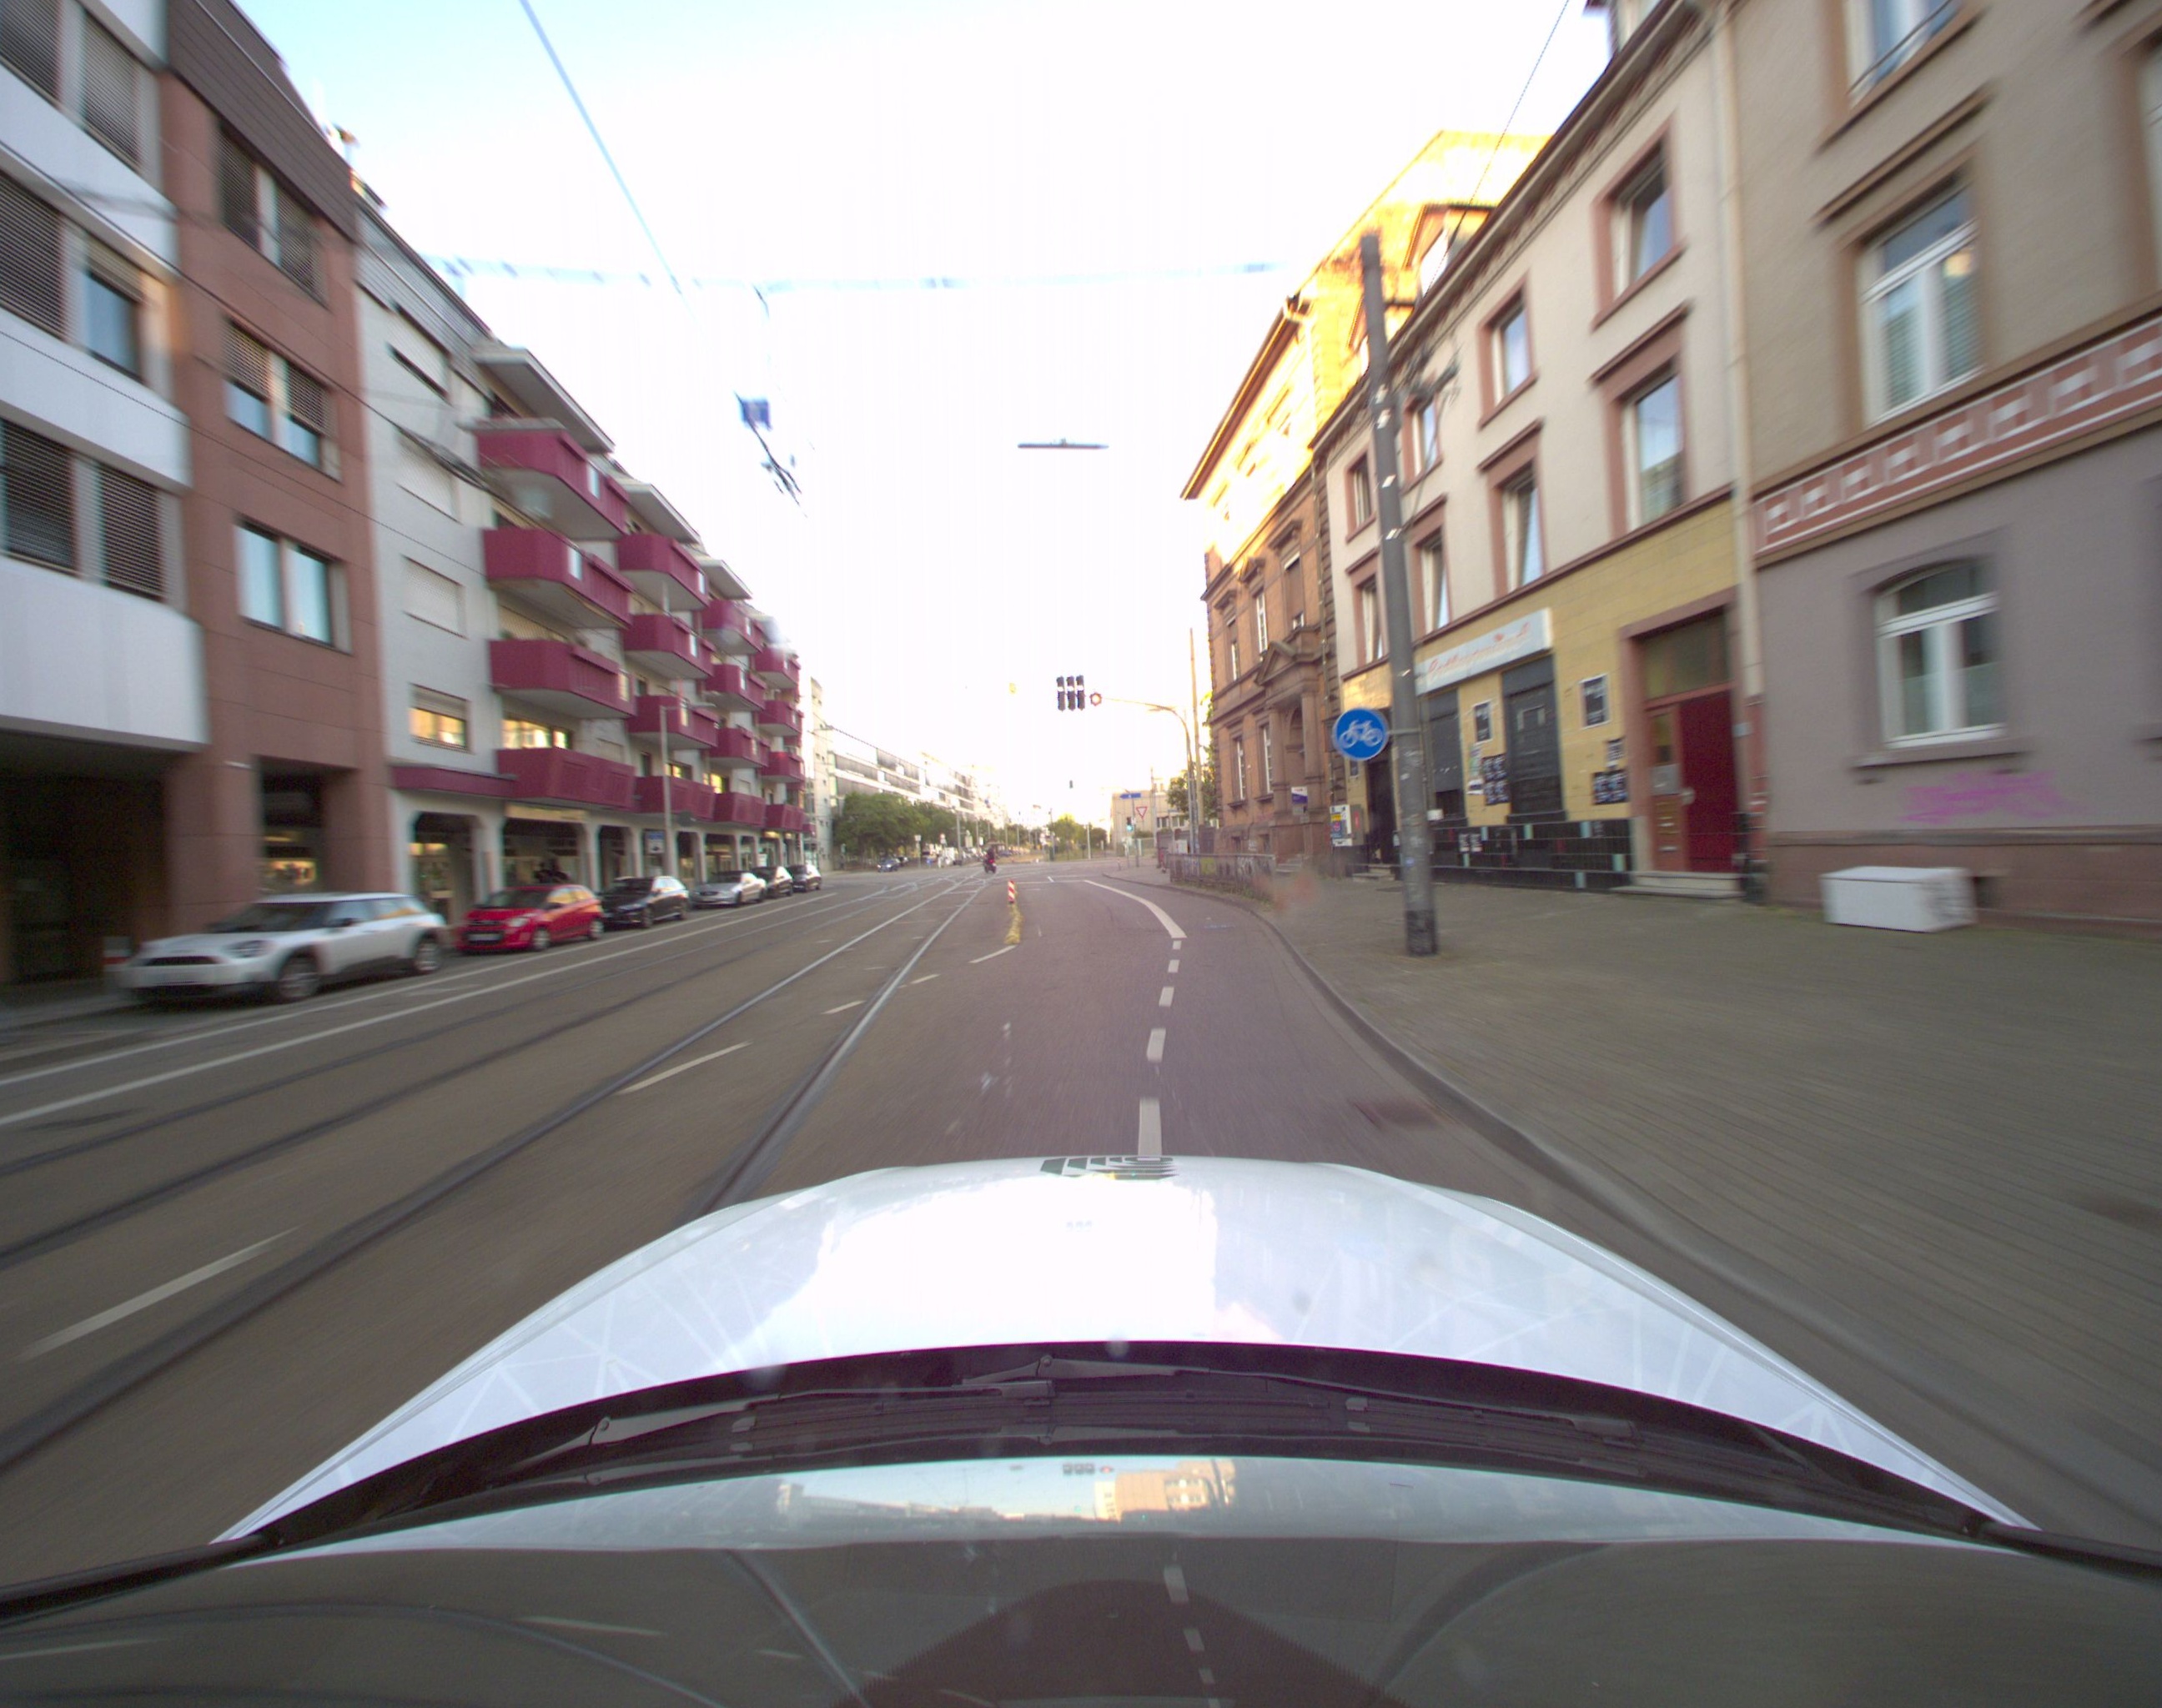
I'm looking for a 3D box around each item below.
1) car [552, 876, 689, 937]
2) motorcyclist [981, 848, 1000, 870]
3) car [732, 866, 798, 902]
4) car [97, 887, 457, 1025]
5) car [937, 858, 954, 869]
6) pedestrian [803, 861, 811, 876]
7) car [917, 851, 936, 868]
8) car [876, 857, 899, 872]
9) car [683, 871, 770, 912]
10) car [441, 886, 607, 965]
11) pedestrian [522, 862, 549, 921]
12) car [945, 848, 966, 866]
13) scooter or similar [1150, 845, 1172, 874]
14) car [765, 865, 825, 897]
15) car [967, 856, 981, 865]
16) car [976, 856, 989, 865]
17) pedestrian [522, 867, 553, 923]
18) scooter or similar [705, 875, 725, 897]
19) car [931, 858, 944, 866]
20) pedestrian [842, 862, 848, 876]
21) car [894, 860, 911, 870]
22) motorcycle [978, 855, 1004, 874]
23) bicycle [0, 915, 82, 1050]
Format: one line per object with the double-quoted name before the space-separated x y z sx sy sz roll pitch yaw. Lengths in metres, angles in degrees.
"car" -13.323 1.448 23.918 1.993 1.479 4.468 -1 0 -9
"motorcyclist" -6.262 0.334 56.591 0.833 1.473 1.195 -3 0 -29
"car" -14.873 1.372 38.531 1.786 1.508 4.191 -2 0 -6
"car" -12.122 1.413 12.767 1.715 1.555 4.195 -2 0 -6
"car" -19.121 1.297 115.101 1.677 1.438 4.126 -3 0 1
"pedestrian" -31.398 1.644 93.242 0.543 1.711 0.662 -3 0 10
"car" -29.521 1.052 155.799 2.193 3.151 6.145 -3 0 1
"car" -24.821 1.339 104.383 1.676 1.699 4.242 -3 0 2
"car" -14.105 1.438 32.661 1.688 1.414 4.670 -1 0 -4
"car" -12.597 1.554 18.675 1.609 1.479 3.473 -1 0 -5
"pedestrian" -19.155 1.316 28.618 0.524 2.013 0.525 -3 0 -12
"car" -18.657 0.416 121.195 2.455 2.482 5.802 -3 0 -3
"scooter or similar" 3.723 0.251 38.060 0.640 1.266 1.580 -5 0 -5
"car" -15.475 1.411 44.356 1.849 1.456 5.075 -3 0 -6
"car" -18.443 1.143 140.308 1.677 1.438 4.126 -3 0 1
"car" -17.911 1.126 148.667 1.677 1.438 4.126 -3 0 1
"pedestrian" -18.539 1.395 27.785 0.609 1.872 0.530 -3 0 14
"scooter or similar" -20.522 1.766 45.677 0.548 1.165 1.477 -3 0 -6
"car" -29.119 1.542 165.668 1.676 1.501 4.240 -3 0 1
"pedestrian" -32.337 2.029 111.472 0.662 1.922 0.546 -4 0 -11
"car" -29.466 1.765 134.436 1.676 1.501 4.240 -3 0 1
"motorcycle" -6.252 0.738 56.601 0.833 1.240 2.467 -3 0 -30
"bicycle" -11.791 1.413 8.178 0.606 1.377 2.259 -3 0 1
